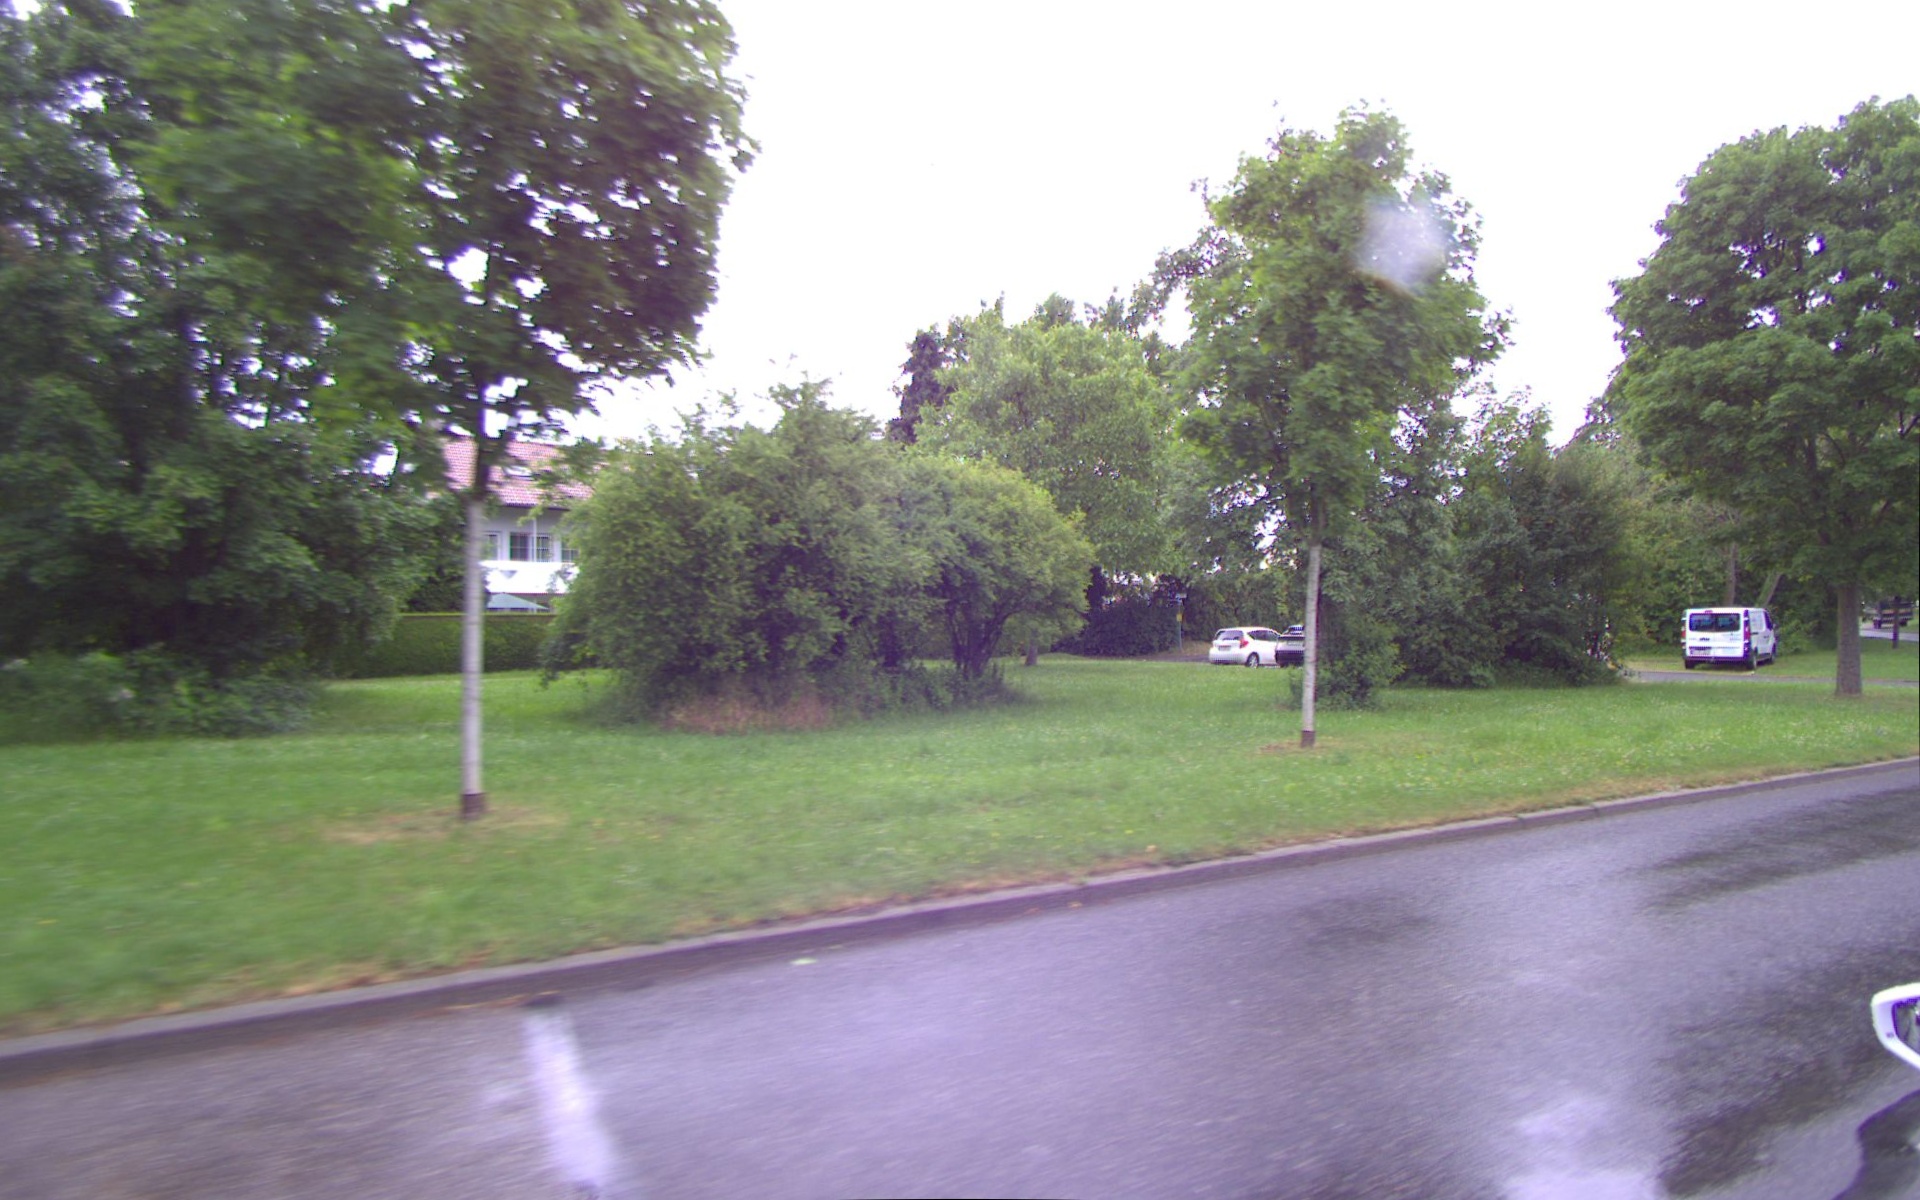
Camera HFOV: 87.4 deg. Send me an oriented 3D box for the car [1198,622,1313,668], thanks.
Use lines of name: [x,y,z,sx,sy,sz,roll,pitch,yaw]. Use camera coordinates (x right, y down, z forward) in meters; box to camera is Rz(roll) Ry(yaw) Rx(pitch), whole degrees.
car: [10.835,1.627,36.670,4.312,1.602,1.840,2,-2,-37]

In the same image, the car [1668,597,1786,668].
car: [25.864,1.034,33.804,5.431,2.012,2.109,-3,0,-42]

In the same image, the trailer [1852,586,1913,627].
trailer: [70.548,0.466,76.912,1.965,2.844,5.597,-6,-3,29]

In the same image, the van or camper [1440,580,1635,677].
van or camper: [16.185,0.804,27.962,6.751,2.392,2.366,1,-2,-38]

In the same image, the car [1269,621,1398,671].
car: [12.605,1.562,33.737,4.960,1.557,1.776,3,-2,-38]
